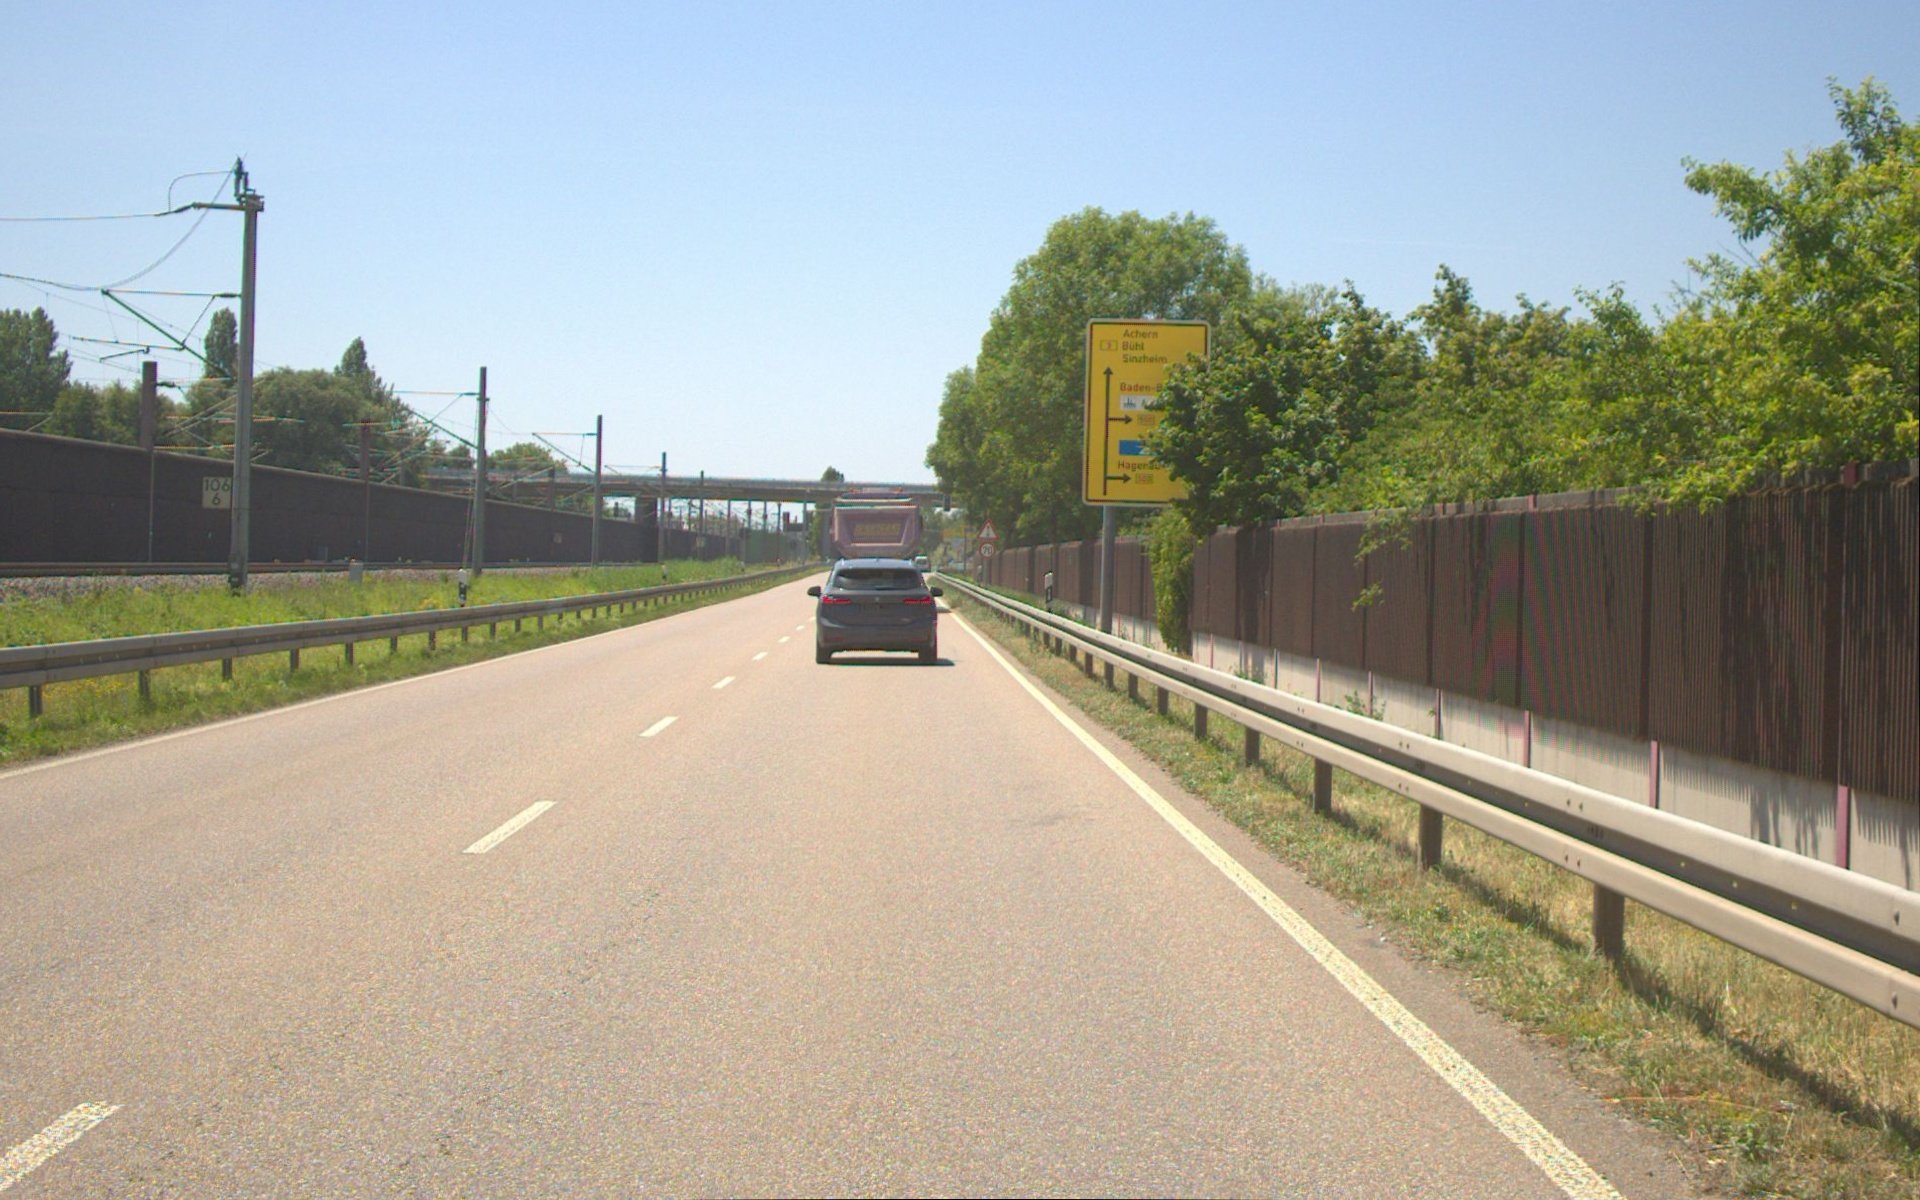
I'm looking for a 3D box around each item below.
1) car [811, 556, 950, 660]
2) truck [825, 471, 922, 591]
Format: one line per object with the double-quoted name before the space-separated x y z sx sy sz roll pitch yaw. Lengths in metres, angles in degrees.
"car" -1.250 0.095 52.167 1.993 1.503 4.001 0 1 -3
"truck" -2.570 -2.054 104.300 2.770 3.414 10.820 1 1 -1
